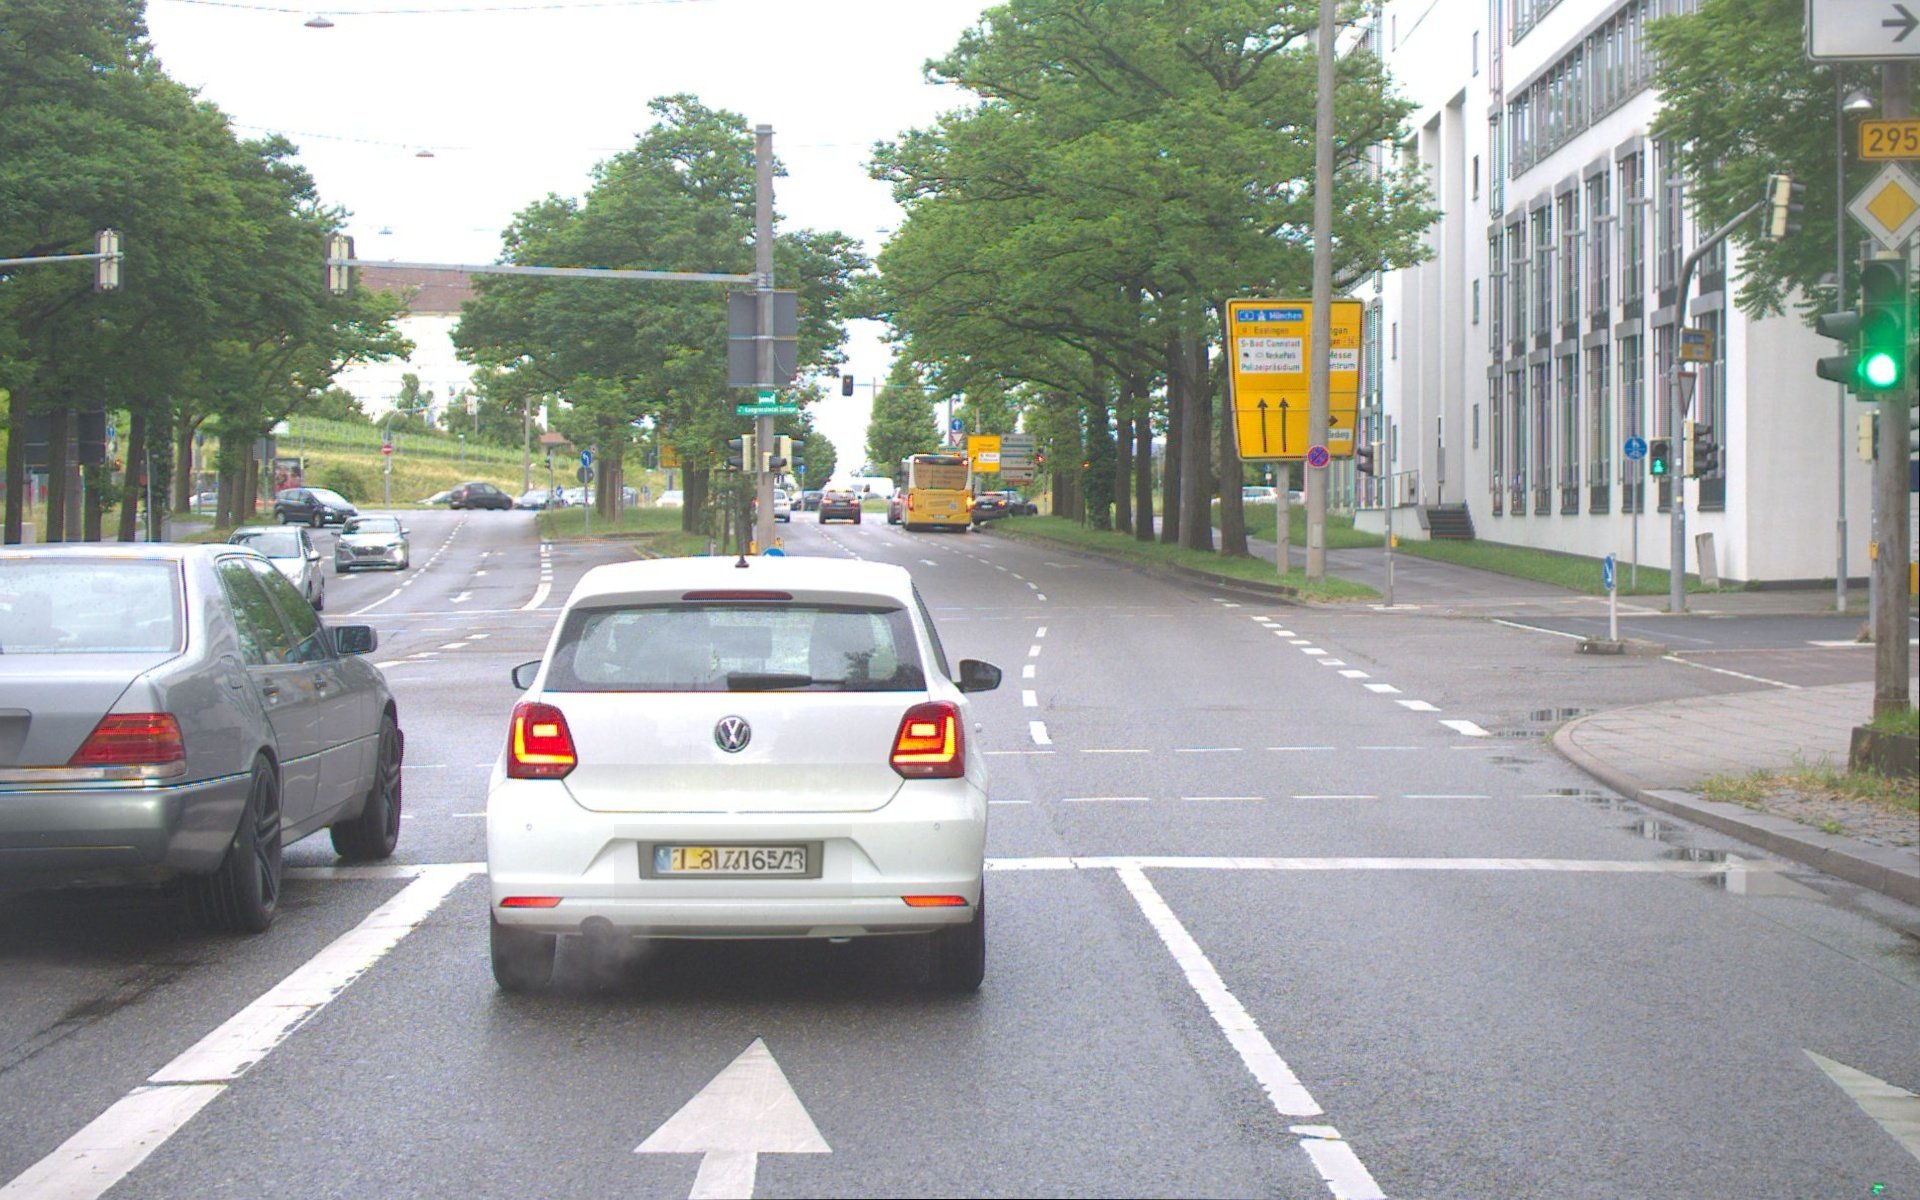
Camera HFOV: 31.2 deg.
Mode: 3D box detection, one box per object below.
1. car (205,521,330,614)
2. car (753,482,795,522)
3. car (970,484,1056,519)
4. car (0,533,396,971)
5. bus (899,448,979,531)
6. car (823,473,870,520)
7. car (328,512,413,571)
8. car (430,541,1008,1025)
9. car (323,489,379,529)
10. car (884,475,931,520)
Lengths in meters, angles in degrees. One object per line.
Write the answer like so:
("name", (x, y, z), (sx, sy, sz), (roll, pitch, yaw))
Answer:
("car", (-12.200, -0.602, 60.748), (1.750, 1.515, 3.818), (-1, 2, -5))
("car", (-8.397, -4.391, 154.877), (1.794, 1.735, 4.001), (-1, 1, -4))
("car", (2.362, -4.384, 153.052), (1.699, 1.510, 3.818), (1, 1, 43))
("car", (-3.552, 0.497, 13.926), (1.847, 1.505, 4.048), (-1, 1, 0))
("bus", (-0.923, -4.566, 140.813), (2.828, 3.255, 10.002), (0, 2, -3))
("car", (-5.064, -4.594, 153.175), (1.993, 2.007, 4.001), (0, 1, -3))
("car", (-15.481, -1.565, 90.493), (1.814, 1.406, 4.657), (-2, 2, -5))
("car", (-0.806, 0.540, 12.734), (1.794, 1.497, 4.000), (0, 1, -2))
("car", (-26.375, -3.947, 148.989), (1.993, 1.610, 5.122), (-2, 3, -6))
("car", (-2.374, -4.585, 154.179), (1.993, 2.007, 4.001), (0, 1, -3))
